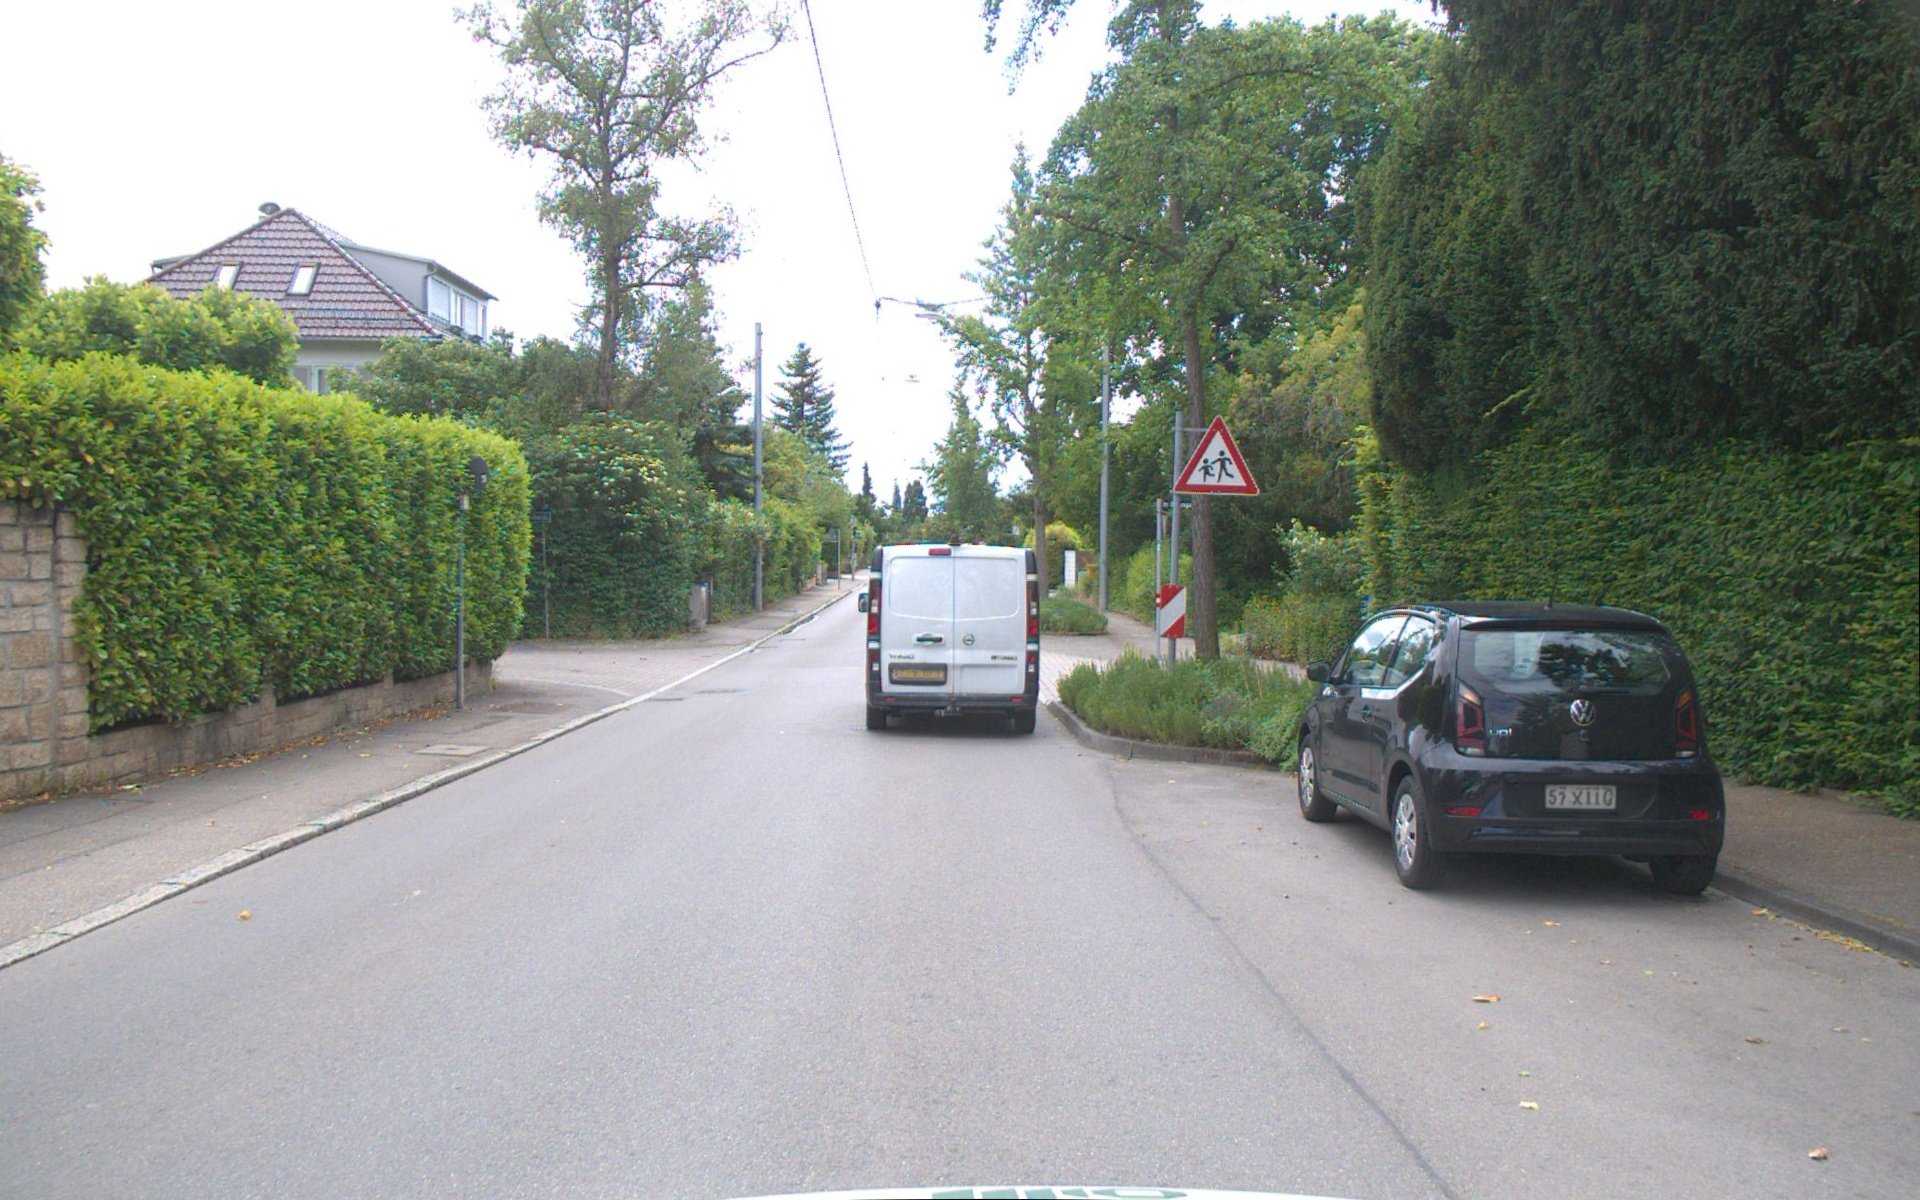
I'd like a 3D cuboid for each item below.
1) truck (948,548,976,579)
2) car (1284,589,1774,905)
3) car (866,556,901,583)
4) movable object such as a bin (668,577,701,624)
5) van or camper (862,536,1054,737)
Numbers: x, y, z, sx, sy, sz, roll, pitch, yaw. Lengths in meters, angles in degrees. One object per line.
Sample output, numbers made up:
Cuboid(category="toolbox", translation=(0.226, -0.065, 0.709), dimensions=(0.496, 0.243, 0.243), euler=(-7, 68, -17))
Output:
Cuboid(category="truck", translation=(0.126, -3.136, 140.169), dimensions=(2.143, 2.514, 7.429), euler=(1, 2, -1))
Cuboid(category="car", translation=(3.152, 0.712, 9.964), dimensions=(1.590, 1.498, 3.739), euler=(1, 1, -1))
Cuboid(category="car", translation=(-4.452, -1.821, 96.970), dimensions=(1.768, 1.456, 4.301), euler=(-3, 2, 0))
Cuboid(category="movable object such as a bin", translation=(-7.036, 0.013, 42.292), dimensions=(0.713, 1.136, 0.585), euler=(3, 1, -4))
Cuboid(category="van or camper", translation=(-0.091, 0.352, 19.008), dimensions=(1.900, 1.988, 4.763), euler=(1, 0, -2))
